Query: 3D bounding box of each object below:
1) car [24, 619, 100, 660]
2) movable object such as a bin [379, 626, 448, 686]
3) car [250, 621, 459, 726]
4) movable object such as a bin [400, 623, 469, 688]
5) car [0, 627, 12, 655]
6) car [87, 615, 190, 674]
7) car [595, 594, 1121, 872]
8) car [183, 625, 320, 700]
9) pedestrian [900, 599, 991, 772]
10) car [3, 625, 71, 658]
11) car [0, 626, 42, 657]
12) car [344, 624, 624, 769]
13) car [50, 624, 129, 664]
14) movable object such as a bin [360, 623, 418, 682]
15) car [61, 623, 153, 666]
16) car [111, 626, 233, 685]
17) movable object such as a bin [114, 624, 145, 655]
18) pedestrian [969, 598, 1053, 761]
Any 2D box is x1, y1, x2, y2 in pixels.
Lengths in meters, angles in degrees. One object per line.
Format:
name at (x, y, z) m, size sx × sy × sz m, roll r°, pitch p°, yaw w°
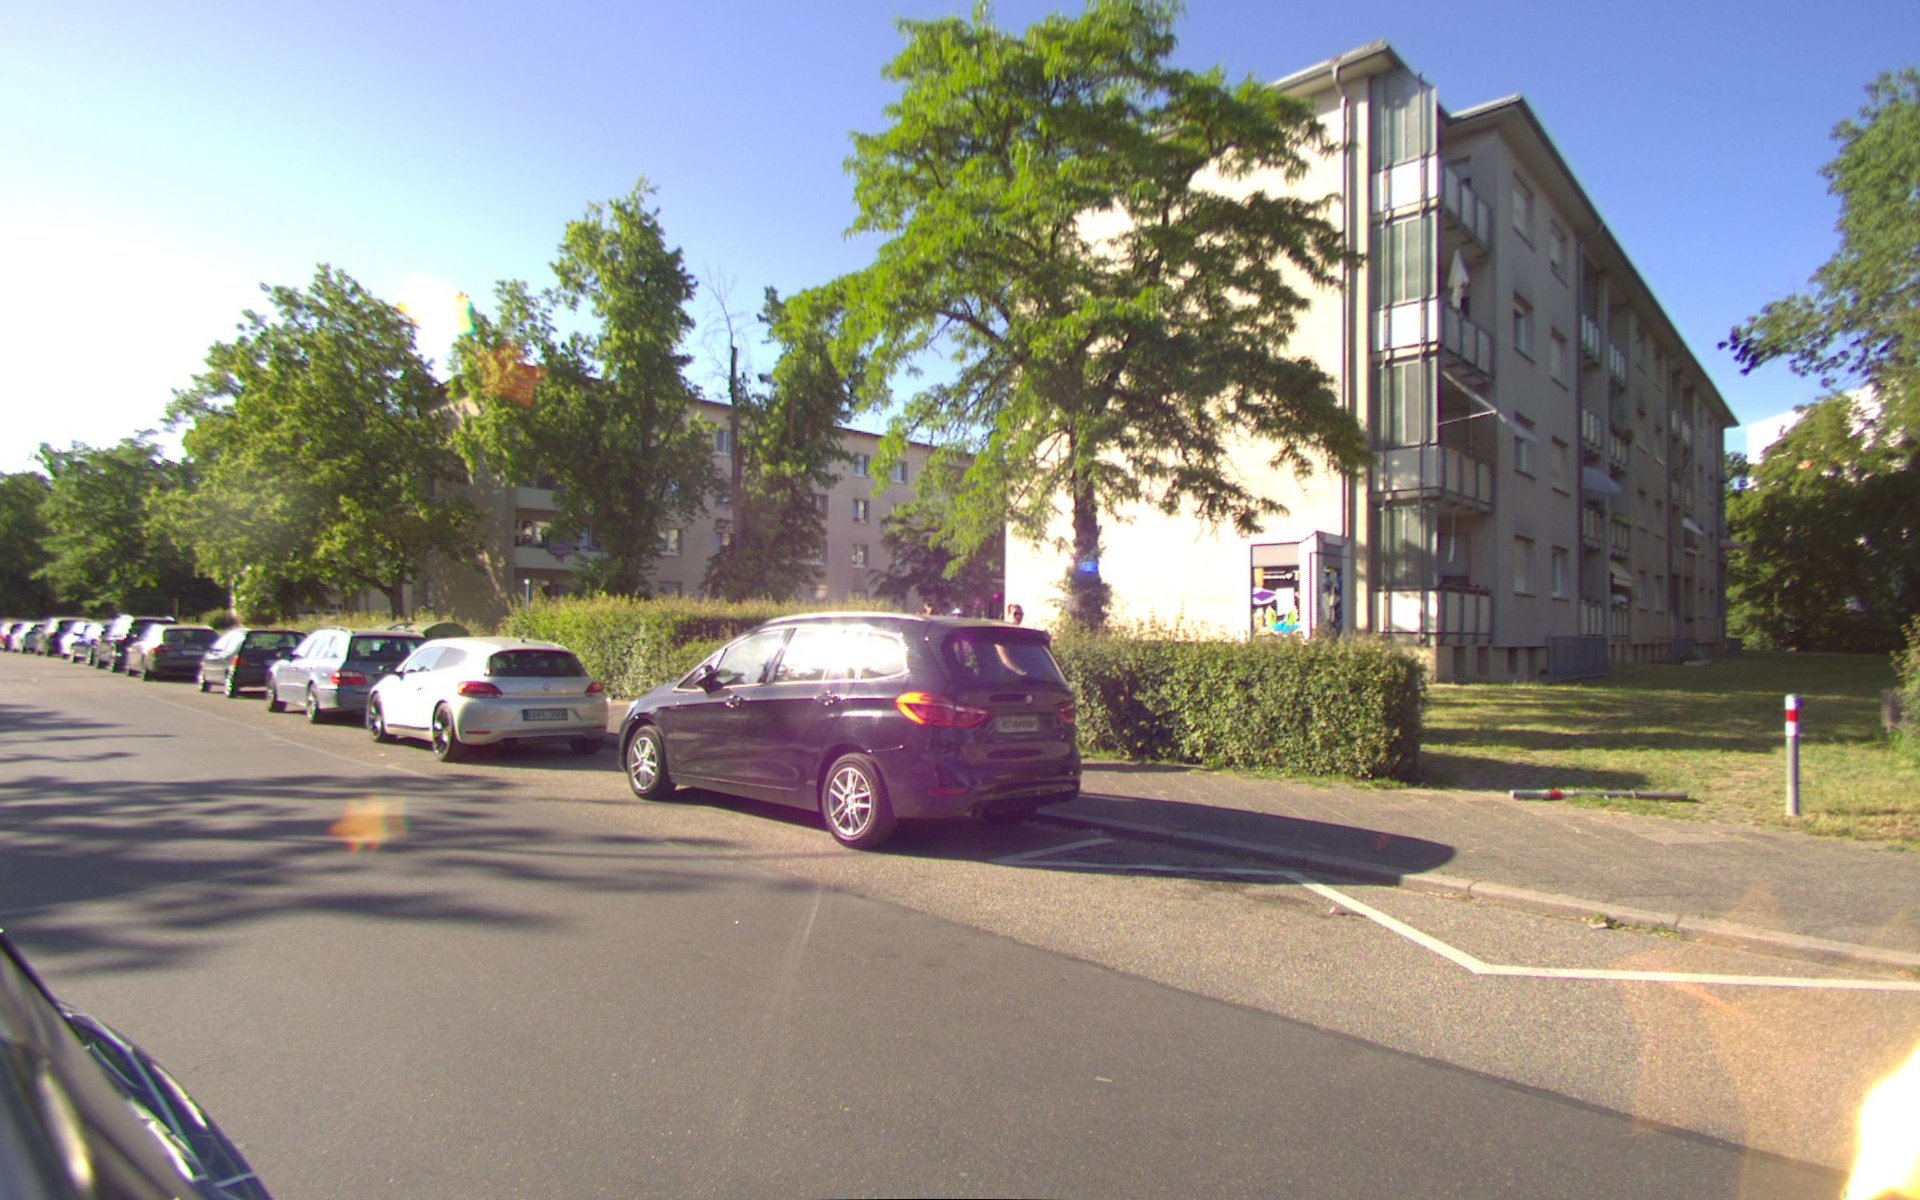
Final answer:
car at (-37.934, 1.671, 42.728) m, size 4.430 × 1.618 × 1.787 m, roll -1°, pitch -4°, yaw 41°
movable object such as a bin at (-13.406, 1.344, 24.831) m, size 1.256 × 1.376 × 1.107 m, roll -1°, pitch 1°, yaw 41°
car at (-10.149, 1.181, 16.789) m, size 4.902 × 1.501 × 1.734 m, roll -2°, pitch -6°, yaw 45°
movable object such as a bin at (-12.301, 1.280, 23.666) m, size 1.326 × 1.426 × 0.991 m, roll -1°, pitch 0°, yaw 41°
car at (-52.677, 2.208, 54.676) m, size 3.102 × 1.490 × 1.637 m, roll -1°, pitch -4°, yaw 38°
car at (-25.264, 1.363, 31.066) m, size 4.389 × 1.681 × 1.735 m, roll -1°, pitch -4°, yaw 42°
car at (-1.029, 0.877, 8.167) m, size 4.370 × 1.648 × 1.735 m, roll -1°, pitch -5°, yaw 43°
car at (-15.375, 1.314, 21.912) m, size 3.495 × 1.475 × 1.631 m, roll -1°, pitch -4°, yaw 42°
pedestrian at (-0.144, 0.850, 10.419) m, size 0.616 × 1.692 × 0.713 m, roll -1°, pitch -2°, yaw 43°
car at (-43.108, 1.936, 47.247) m, size 3.937 × 1.490 × 1.788 m, roll -1°, pitch -4°, yaw 40°
car at (-47.193, 2.068, 50.329) m, size 3.874 × 1.490 × 1.615 m, roll -1°, pitch -4°, yaw 38°
car at (-5.986, 1.079, 12.494) m, size 4.212 × 1.436 × 1.734 m, roll -1°, pitch -4°, yaw 45°
car at (-33.469, 1.694, 38.888) m, size 4.149 × 1.448 × 1.735 m, roll -1°, pitch -4°, yaw 42°
movable object such as a bin at (-14.571, 1.326, 25.821) m, size 1.326 × 1.426 × 0.885 m, roll -1°, pitch 0°, yaw 41°
car at (-29.104, 1.504, 34.502) m, size 4.166 × 1.396 × 1.621 m, roll -1°, pitch -4°, yaw 39°
car at (-21.161, 1.447, 27.118) m, size 4.673 × 1.396 × 1.735 m, roll 0°, pitch -3°, yaw 42°
movable object such as a bin at (-39.842, 1.872, 48.547) m, size 1.263 × 1.426 × 0.886 m, roll -1°, pitch 0°, yaw 39°
pedestrian at (0.558, 0.841, 11.006) m, size 0.600 × 1.692 × 0.713 m, roll -1°, pitch -2°, yaw 43°
